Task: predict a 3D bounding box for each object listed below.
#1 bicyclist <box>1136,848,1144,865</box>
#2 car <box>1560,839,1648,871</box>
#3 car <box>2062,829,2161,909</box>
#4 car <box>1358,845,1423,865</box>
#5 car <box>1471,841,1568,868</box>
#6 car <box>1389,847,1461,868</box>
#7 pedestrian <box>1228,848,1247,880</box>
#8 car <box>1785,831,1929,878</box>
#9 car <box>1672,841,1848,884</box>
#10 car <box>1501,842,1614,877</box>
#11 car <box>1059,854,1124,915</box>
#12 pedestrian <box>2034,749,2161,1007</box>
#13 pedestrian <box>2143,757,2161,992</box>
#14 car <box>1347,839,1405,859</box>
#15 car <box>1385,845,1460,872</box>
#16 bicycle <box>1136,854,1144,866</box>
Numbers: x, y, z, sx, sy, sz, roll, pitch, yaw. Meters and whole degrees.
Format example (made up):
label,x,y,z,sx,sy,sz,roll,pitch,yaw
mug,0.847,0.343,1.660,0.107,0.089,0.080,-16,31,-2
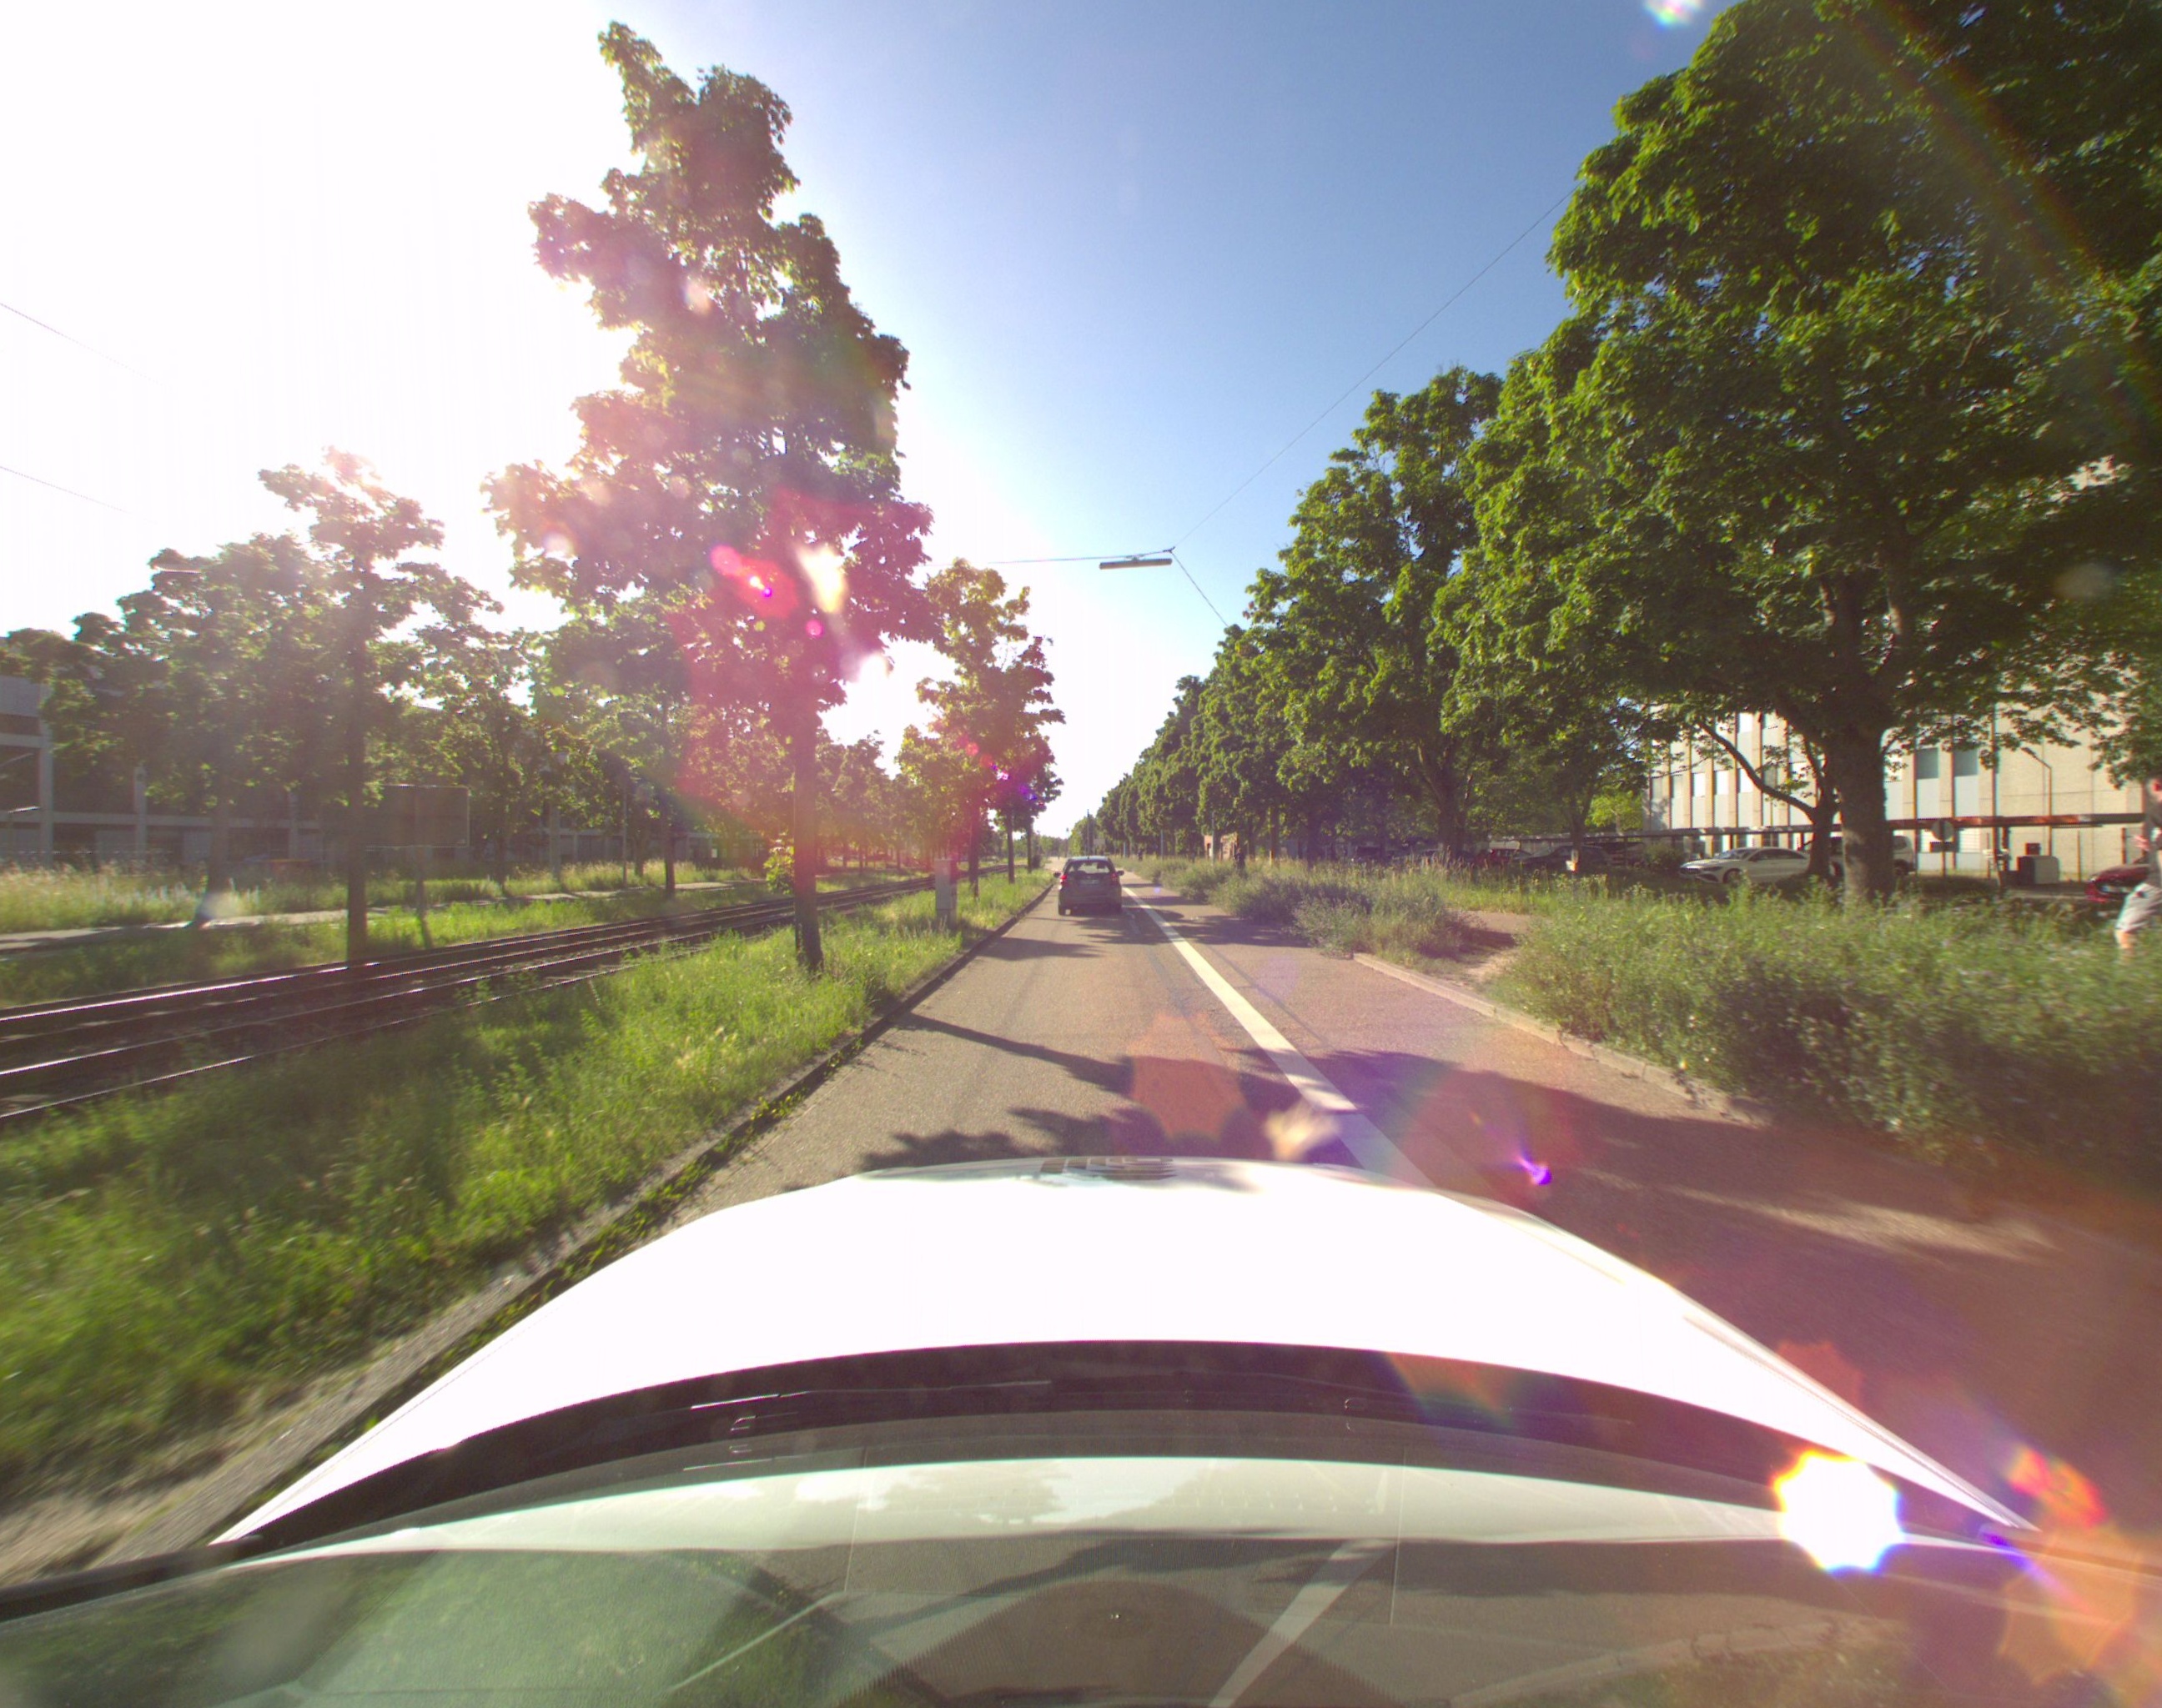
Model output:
label,x,y,z,sx,sy,sz,roll,pitch,yaw
bicyclist,6.117,0.244,83.905,0.681,1.720,0.901,-1,-1,-3
car,34.755,0.069,54.212,4.568,2.013,1.958,-1,0,1
car,23.161,0.246,16.857,4.230,1.536,1.760,-2,0,-10
car,23.552,0.072,62.093,4.338,1.459,1.690,-1,0,3
car,23.878,0.005,44.471,4.272,1.324,1.943,-2,1,4
car,23.353,0.233,55.429,4.147,1.432,1.826,0,0,3
pedestrian,7.703,0.479,40.077,0.821,1.569,0.762,0,0,1
car,35.211,0.017,37.029,4.734,1.950,1.974,-1,0,-1
car,23.321,0.274,28.056,4.686,1.271,1.806,-2,1,-3
car,22.912,0.254,39.257,4.382,1.596,1.882,-1,0,-3
car,0.246,0.772,22.284,1.619,1.499,3.455,-1,0,-1
pedestrian,8.391,0.177,6.456,0.705,1.918,0.817,0,0,2
pedestrian,9.199,0.166,6.365,0.705,1.930,0.817,0,0,4
car,23.366,-0.419,64.601,4.016,1.505,1.738,-1,0,0
car,21.215,0.271,50.668,3.985,1.525,1.704,-1,0,-3
bicycle,6.112,0.594,83.904,0.482,1.204,2.140,-1,-2,-4
